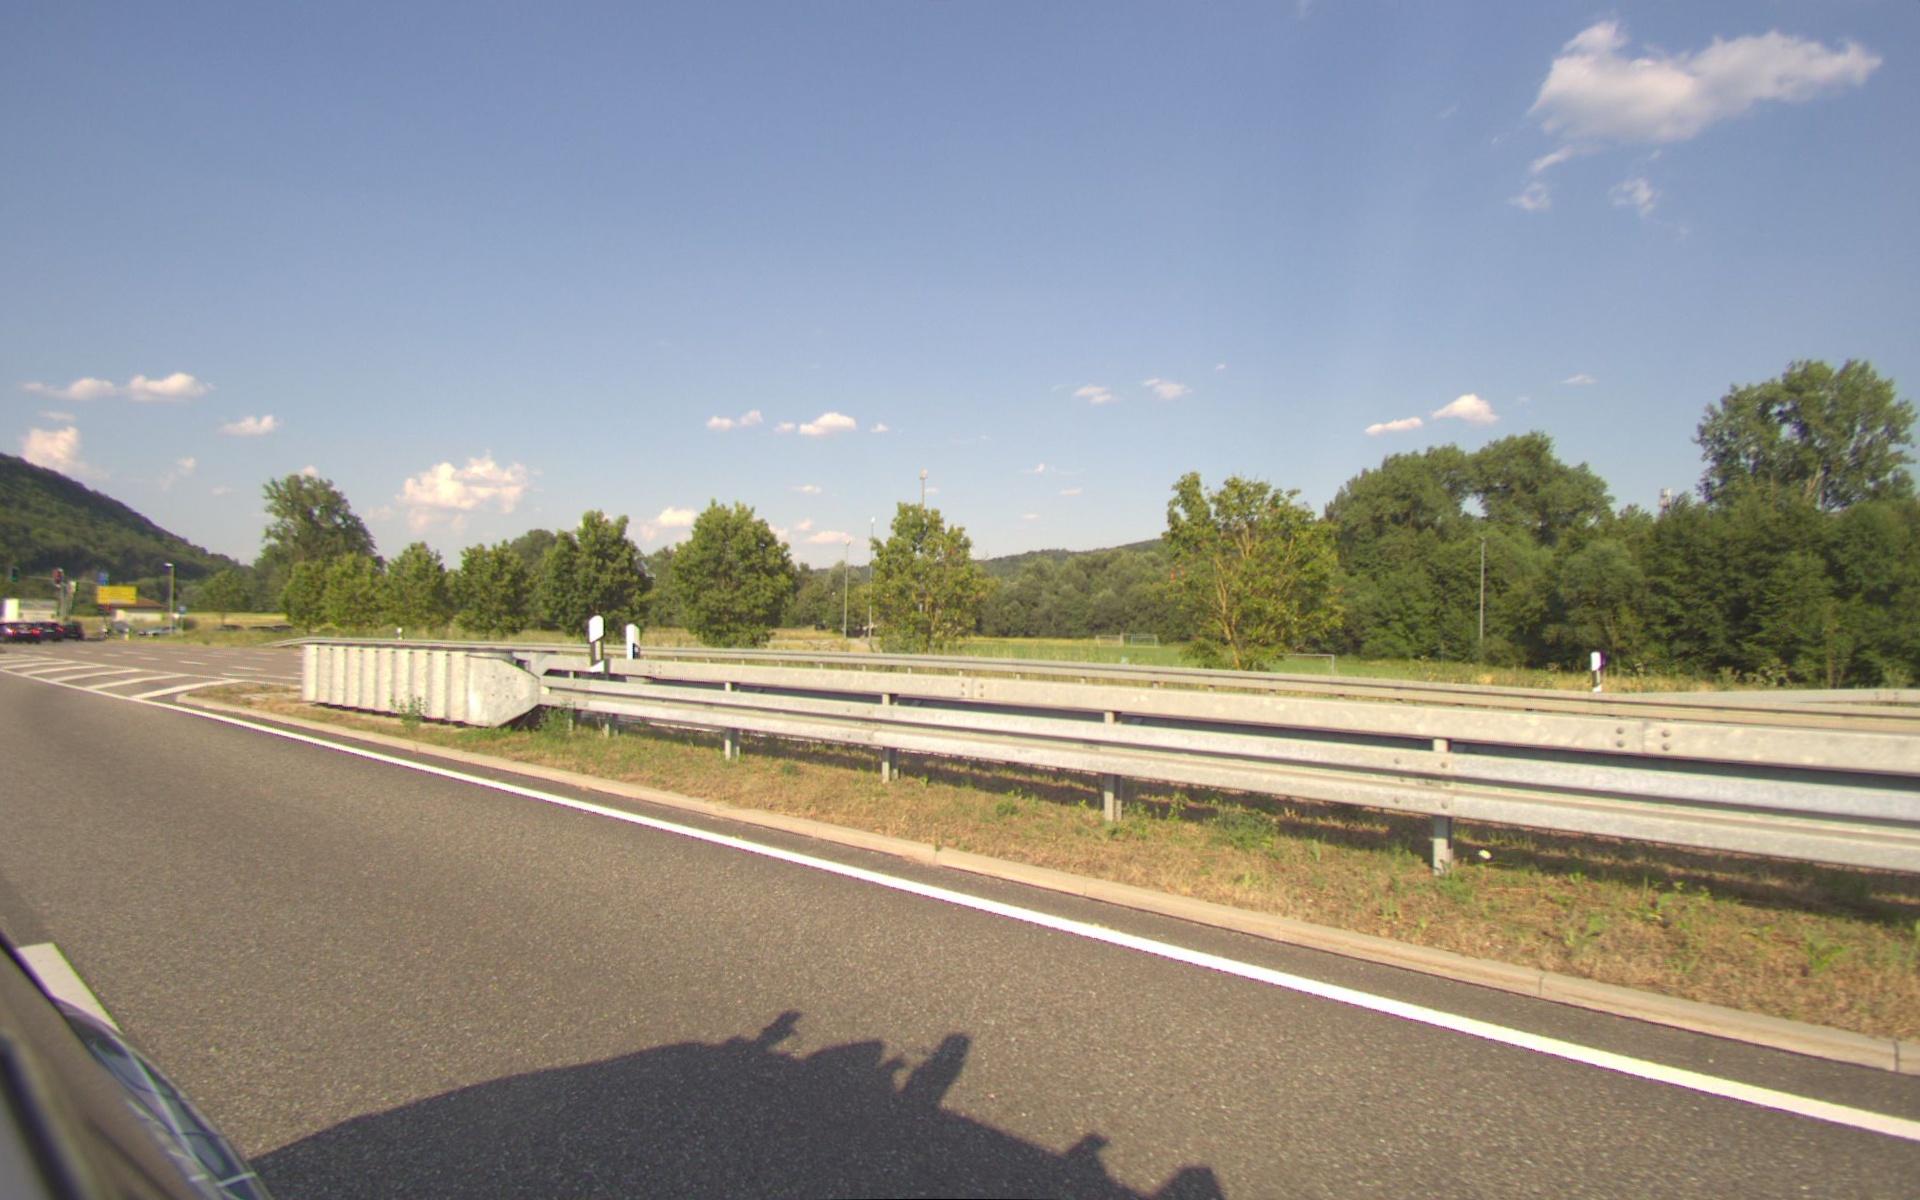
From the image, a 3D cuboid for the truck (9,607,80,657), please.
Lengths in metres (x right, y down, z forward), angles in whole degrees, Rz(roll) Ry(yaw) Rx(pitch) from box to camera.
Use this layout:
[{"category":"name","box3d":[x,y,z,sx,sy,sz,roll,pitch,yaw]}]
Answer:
[{"category":"truck","box3d":[-73.147,2.499,80.791,10.495,3.718,2.902,-1,-4,42]}]

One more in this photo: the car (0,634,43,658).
[{"category":"car","box3d":[-61.825,3.016,66.486,4.722,1.475,1.698,-2,-5,40]}]
